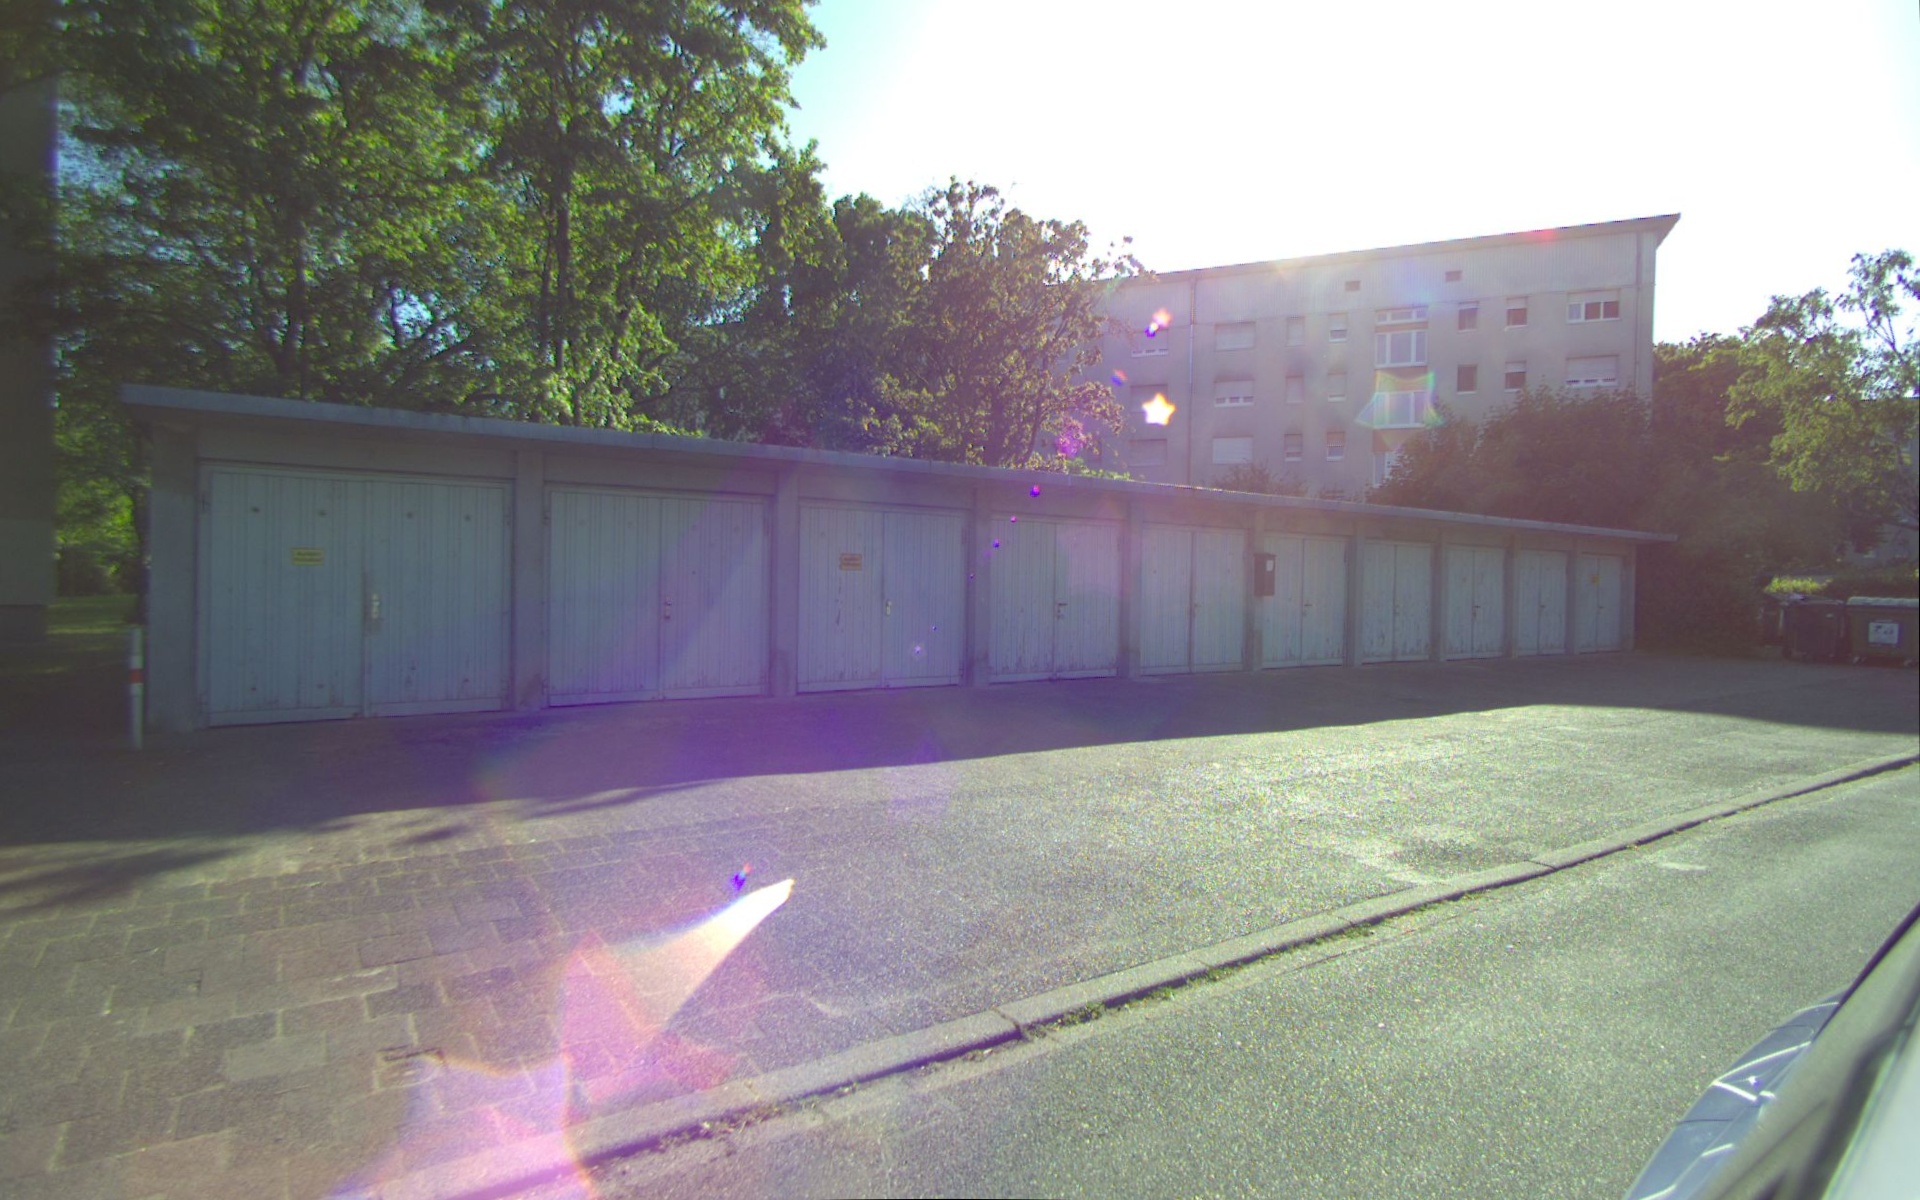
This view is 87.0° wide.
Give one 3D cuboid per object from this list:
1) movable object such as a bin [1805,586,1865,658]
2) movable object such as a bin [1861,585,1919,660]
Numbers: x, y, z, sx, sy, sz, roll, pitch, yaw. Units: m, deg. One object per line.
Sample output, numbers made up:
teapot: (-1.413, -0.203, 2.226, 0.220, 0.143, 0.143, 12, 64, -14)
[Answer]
movable object such as a bin: (18.601, 0.446, 21.512, 0.832, 1.459, 0.754, -1, 3, -36)
movable object such as a bin: (19.614, 0.444, 20.874, 1.158, 1.459, 1.279, -1, 3, -36)
